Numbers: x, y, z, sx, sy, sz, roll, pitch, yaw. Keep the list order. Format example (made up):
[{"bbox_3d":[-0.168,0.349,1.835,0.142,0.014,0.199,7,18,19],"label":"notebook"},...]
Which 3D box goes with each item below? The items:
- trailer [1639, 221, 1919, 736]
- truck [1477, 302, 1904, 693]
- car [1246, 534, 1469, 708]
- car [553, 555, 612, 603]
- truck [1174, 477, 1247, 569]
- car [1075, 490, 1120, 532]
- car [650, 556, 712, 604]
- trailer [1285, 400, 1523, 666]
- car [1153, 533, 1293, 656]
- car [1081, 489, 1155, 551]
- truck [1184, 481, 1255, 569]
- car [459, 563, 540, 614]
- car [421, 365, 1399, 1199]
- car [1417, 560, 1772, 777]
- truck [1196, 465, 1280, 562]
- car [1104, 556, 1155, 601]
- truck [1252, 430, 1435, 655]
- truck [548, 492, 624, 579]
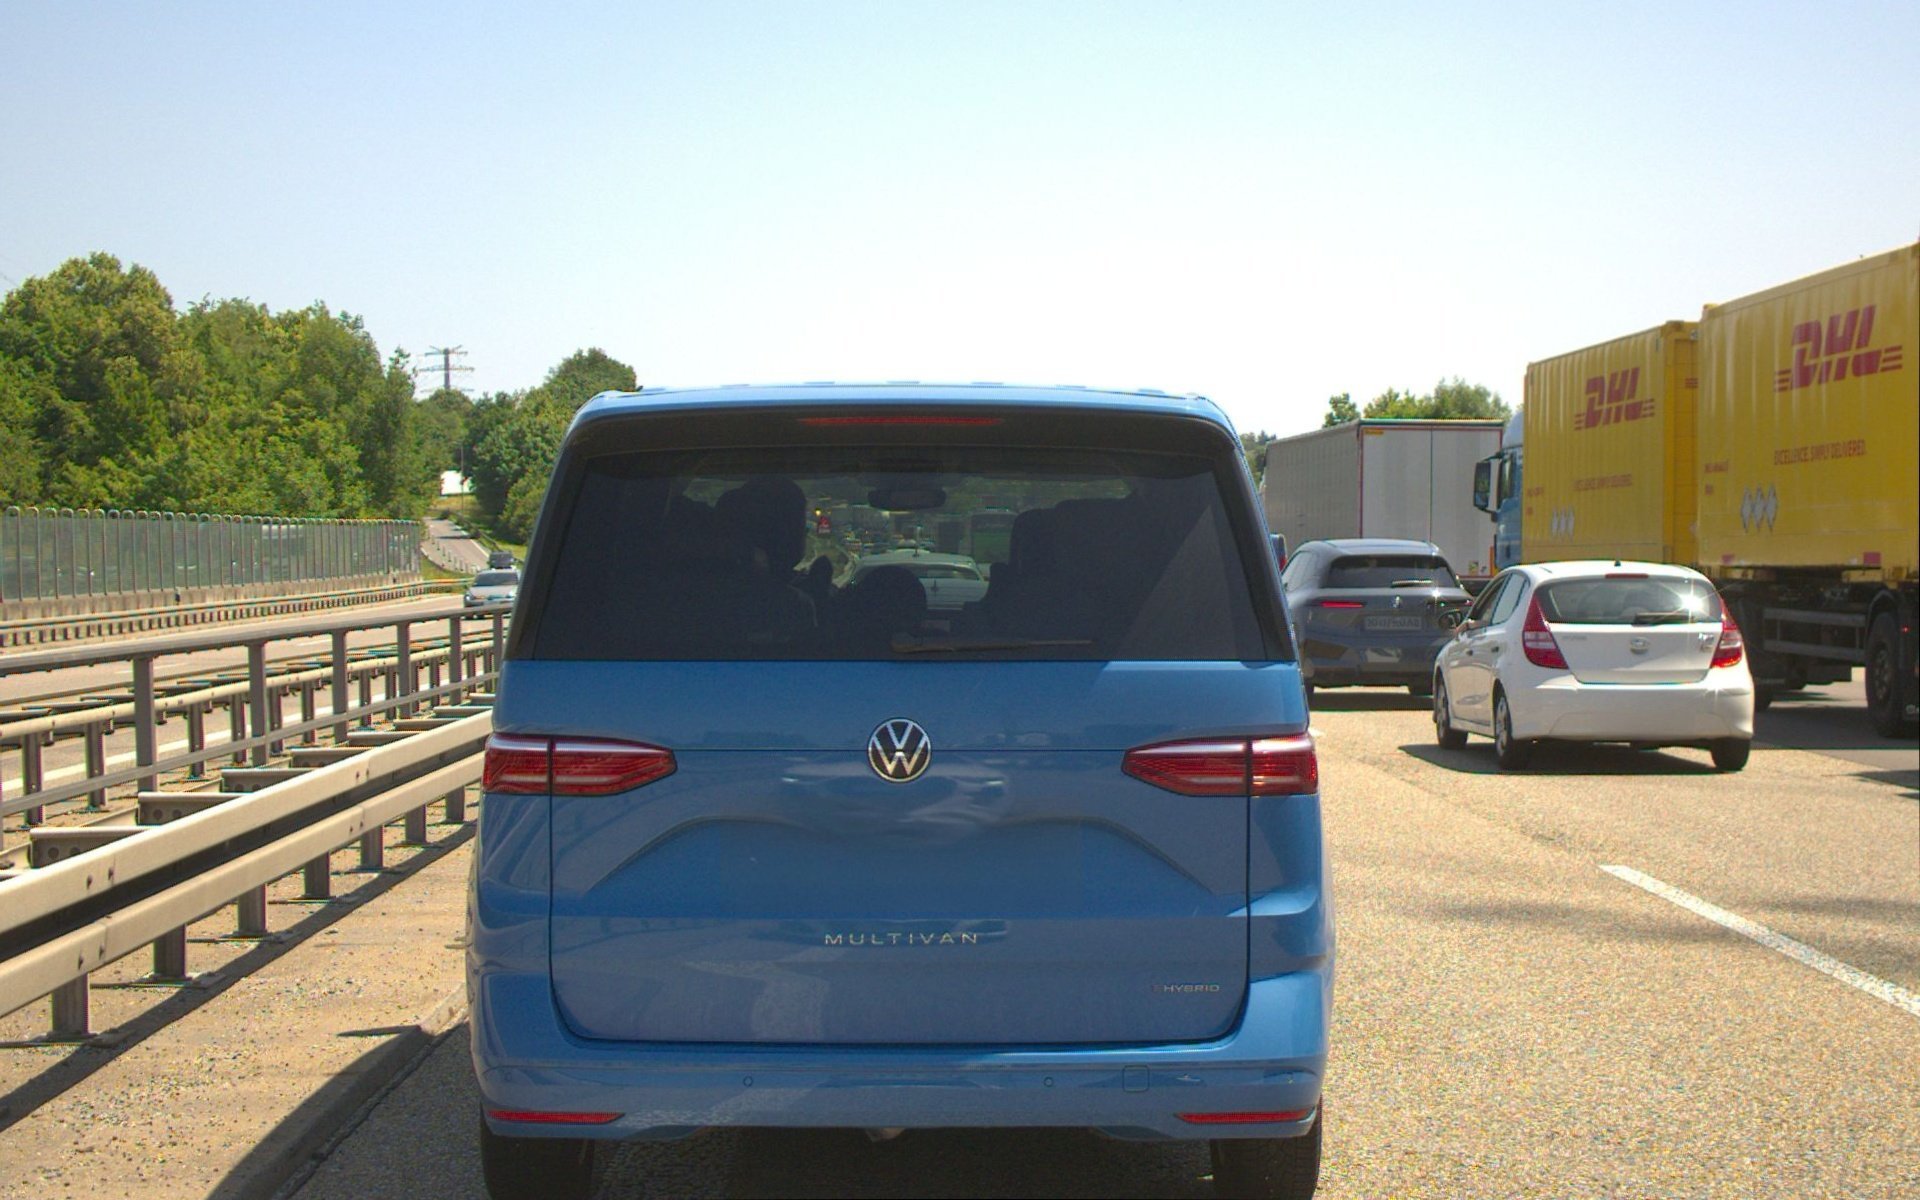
[{"bbox_3d":[8.655,-0.964,31.749,2.682,4.074,8.981,1,0,-2],"label":"trailer"},{"bbox_3d":[8.438,-1.101,41.146,2.699,4.074,9.940,1,0,-1],"label":"truck"},{"bbox_3d":[4.037,0.198,35.451,1.815,1.673,3.932,1,0,0],"label":"car"},{"bbox_3d":[-14.762,-0.818,134.680,1.839,1.816,4.748,-1,0,-1],"label":"car"},{"bbox_3d":[7.210,-2.199,99.266,1.742,2.540,4.210,1,0,0],"label":"truck"},{"bbox_3d":[6.133,-3.969,153.582,1.797,1.745,3.943,1,0,0],"label":"car"},{"bbox_3d":[-10.090,-0.724,124.752,1.871,1.524,3.609,-6,1,-1],"label":"car"},{"bbox_3d":[8.249,-1.192,65.308,3.026,4.595,10.925,1,0,0],"label":"trailer"},{"bbox_3d":[4.313,-0.093,56.874,1.962,1.929,3.932,1,0,0],"label":"car"},{"bbox_3d":[4.570,-2.296,100.030,1.919,1.700,4.000,1,0,0],"label":"car"},{"bbox_3d":[7.865,-2.256,104.594,1.797,2.587,4.305,1,0,0],"label":"truck"},{"bbox_3d":[-13.813,-0.359,103.281,1.871,1.437,4.385,-2,0,-1],"label":"car"},{"bbox_3d":[-0.116,0.471,8.867,1.930,1.867,4.000,1,0,0],"label":"car"},{"bbox_3d":[4.619,0.462,25.561,1.815,1.465,3.932,1,0,-1],"label":"car"},{"bbox_3d":[7.293,-2.242,90.578,1.798,2.441,4.504,1,0,0],"label":"truck"},{"bbox_3d":[6.773,-0.847,137.549,1.797,1.745,3.943,1,0,0],"label":"car"},{"bbox_3d":[8.229,-1.195,74.749,3.026,4.595,7.921,1,0,0],"label":"truck"},{"bbox_3d":[-19.563,-3.337,180.230,2.929,4.279,6.858,-3,0,1],"label":"truck"}]
